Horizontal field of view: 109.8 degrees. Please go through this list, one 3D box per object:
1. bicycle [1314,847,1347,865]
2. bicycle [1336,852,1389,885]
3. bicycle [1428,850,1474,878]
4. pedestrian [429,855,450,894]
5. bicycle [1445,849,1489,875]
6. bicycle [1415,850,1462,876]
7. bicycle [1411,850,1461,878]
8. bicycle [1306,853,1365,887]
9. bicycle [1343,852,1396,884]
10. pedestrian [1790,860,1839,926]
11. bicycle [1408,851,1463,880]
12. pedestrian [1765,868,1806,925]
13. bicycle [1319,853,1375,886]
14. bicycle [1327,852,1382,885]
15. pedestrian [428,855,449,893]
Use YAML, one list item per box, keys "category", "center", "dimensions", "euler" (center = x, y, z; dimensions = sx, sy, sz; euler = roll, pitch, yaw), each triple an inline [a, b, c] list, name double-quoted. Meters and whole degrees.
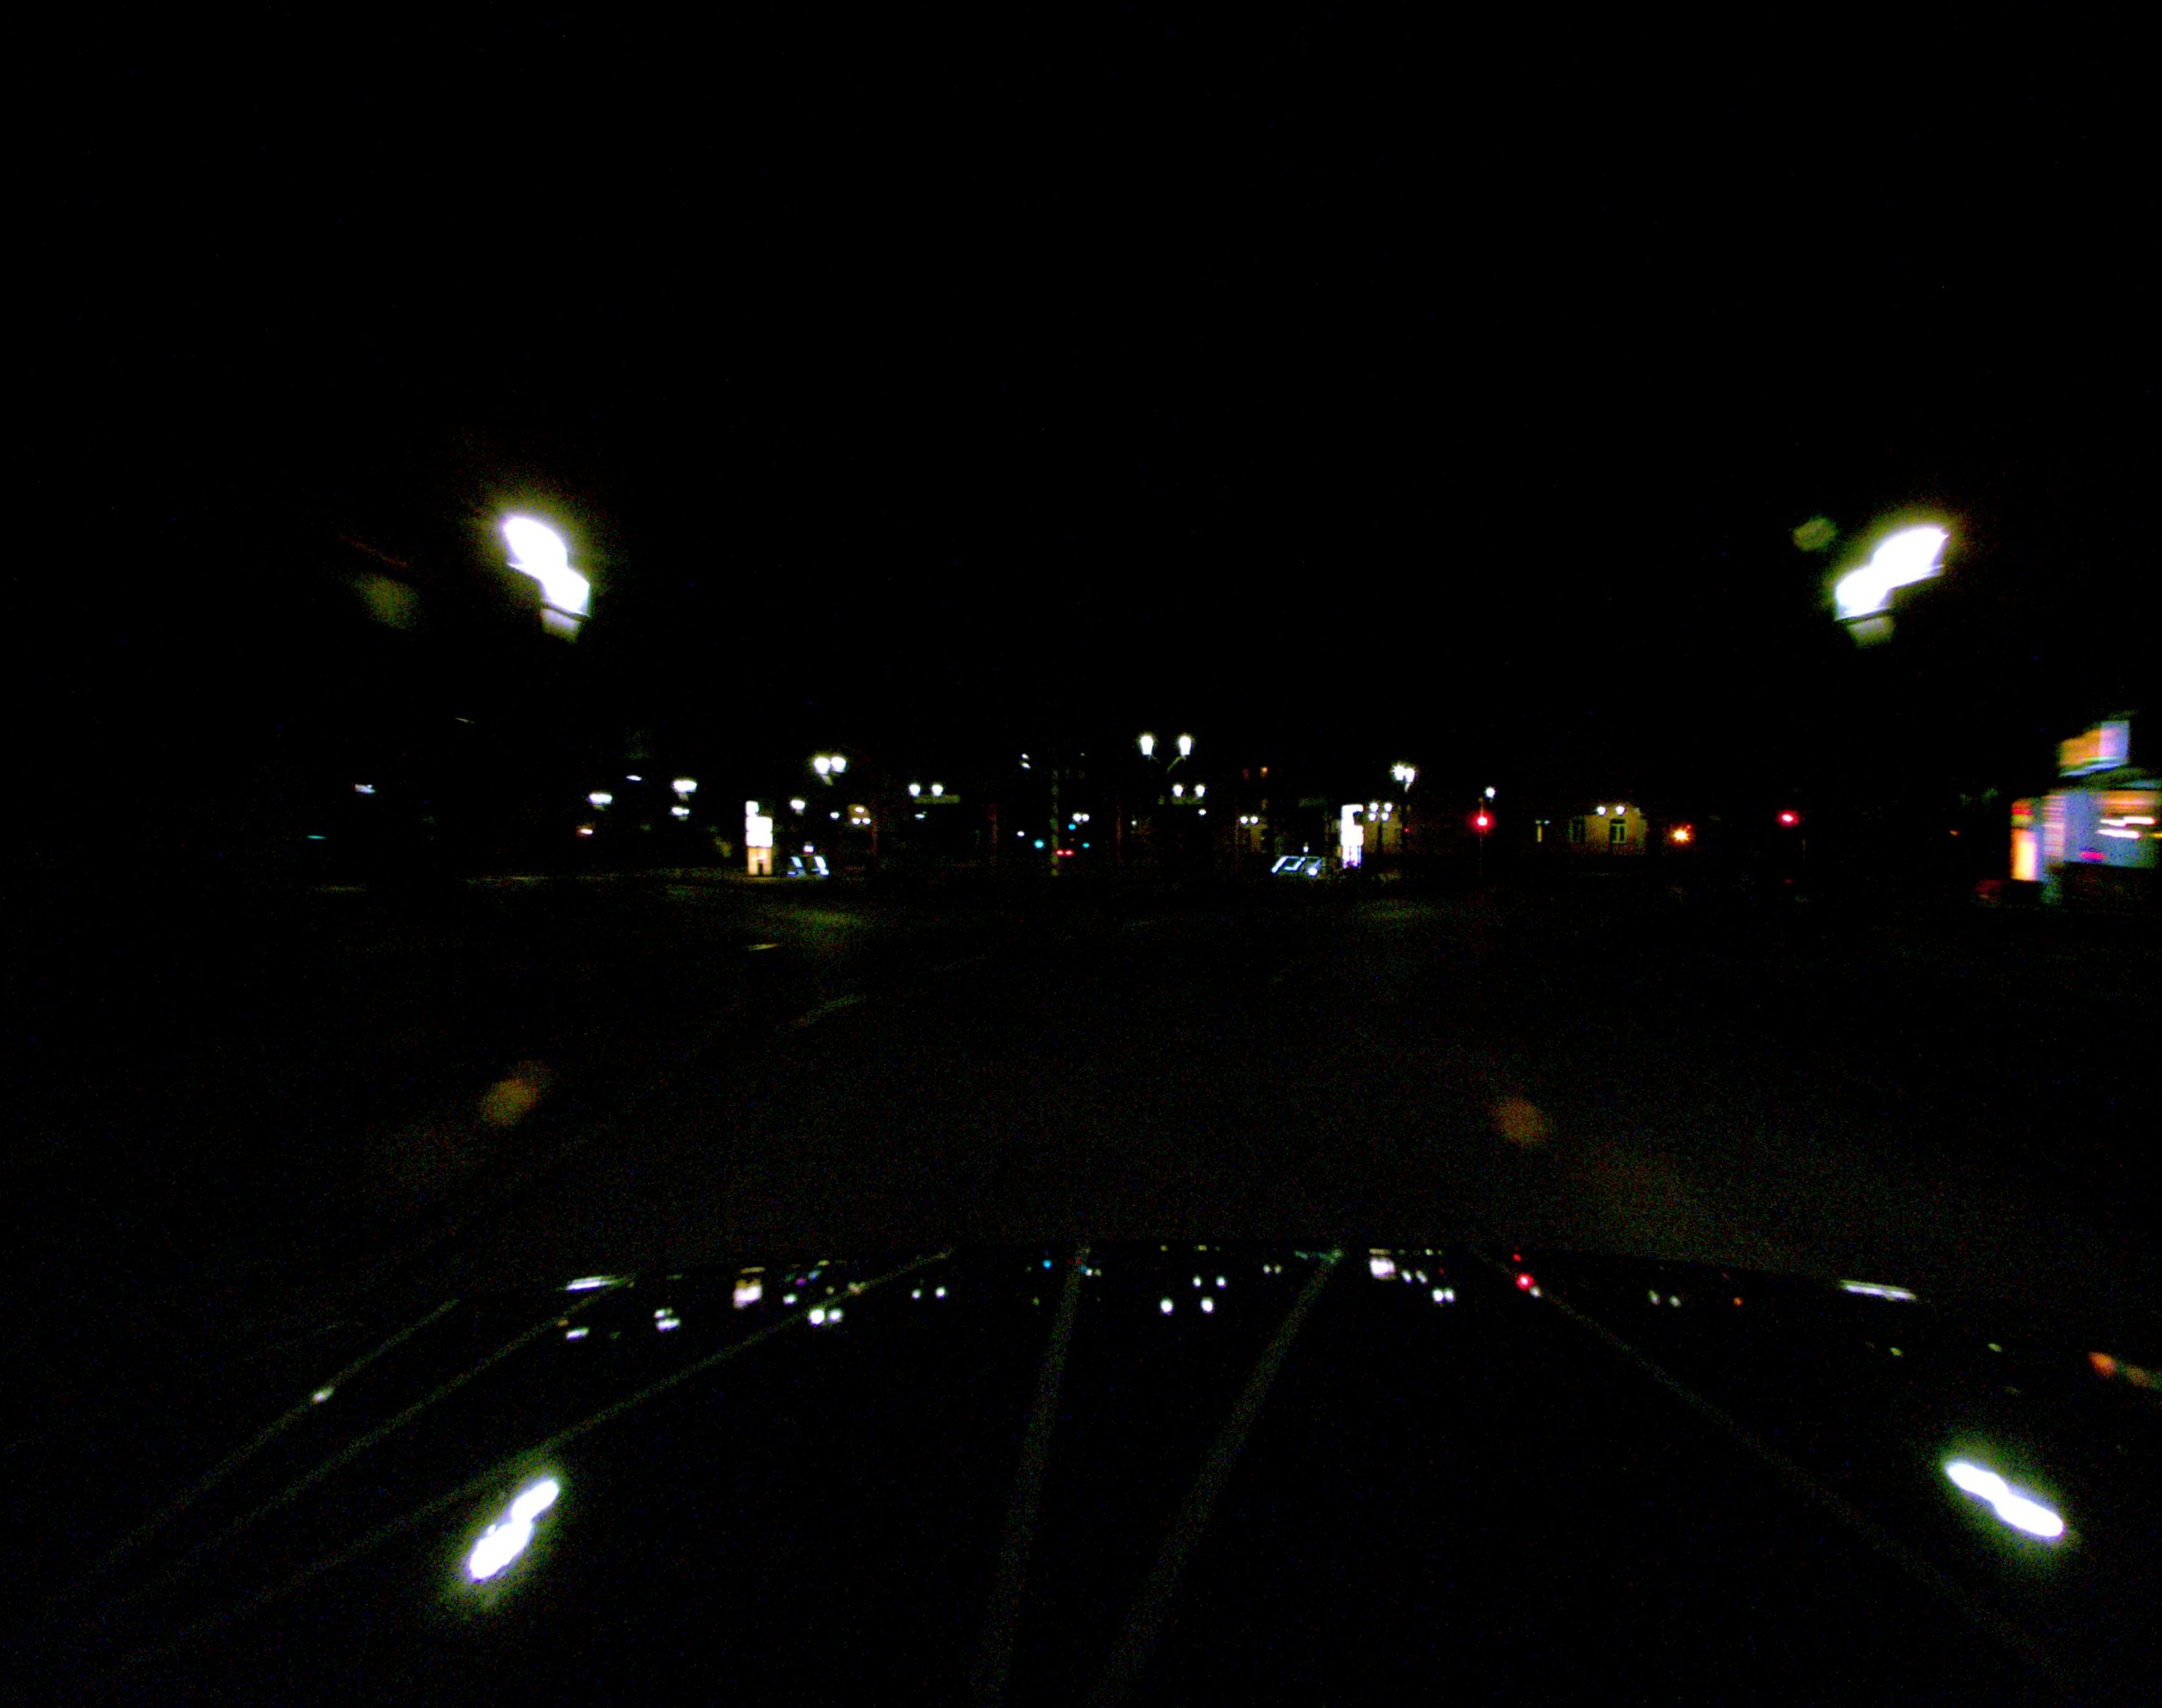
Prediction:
- category: "bicycle"
  center: [15.441, 0.101, 47.036]
  dimensions: [1.803, 1.121, 0.650]
  euler: [0, 1, -8]
- category: "bicycle"
  center: [10.479, 0.523, 28.302]
  dimensions: [0.583, 1.144, 1.772]
  euler: [-1, 2, -43]
- category: "bicycle"
  center: [15.813, 0.411, 32.472]
  dimensions: [1.655, 1.128, 0.644]
  euler: [1, 2, 42]
- category: "pedestrian"
  center: [-21.910, 0.696, 25.955]
  dimensions: [0.516, 1.292, 0.465]
  euler: [-1, 2, -44]
- category: "bicycle"
  center: [17.809, 0.357, 35.051]
  dimensions: [1.655, 1.134, 0.829]
  euler: [1, 2, 42]
- category: "bicycle"
  center: [15.919, 0.378, 33.868]
  dimensions: [1.770, 1.134, 0.688]
  euler: [1, 2, 42]
- category: "bicycle"
  center: [14.907, 0.410, 31.963]
  dimensions: [1.788, 1.128, 0.630]
  euler: [1, 2, 41]
- category: "bicycle"
  center: [8.925, 0.536, 26.671]
  dimensions: [1.783, 1.144, 0.761]
  euler: [1, 2, 41]
- category: "bicycle"
  center: [10.920, 0.515, 28.791]
  dimensions: [0.583, 1.144, 1.772]
  euler: [-1, 2, -43]
- category: "pedestrian"
  center: [15.865, 0.823, 16.445]
  dimensions: [0.676, 1.370, 0.578]
  euler: [1, 2, 39]
- category: "bicycle"
  center: [14.340, 0.445, 30.741]
  dimensions: [1.865, 1.128, 0.727]
  euler: [1, 2, 41]
- category: "pedestrian"
  center: [14.991, 0.891, 16.185]
  dimensions: [0.575, 1.157, 0.679]
  euler: [1, 2, 39]
- category: "bicycle"
  center: [9.518, 0.538, 27.251]
  dimensions: [1.772, 1.144, 0.615]
  euler: [1, 2, 41]
- category: "bicycle"
  center: [9.993, 0.516, 27.796]
  dimensions: [1.772, 1.144, 0.583]
  euler: [1, 2, 41]
- category: "pedestrian"
  center: [-22.240, 0.692, 26.301]
  dimensions: [0.516, 1.292, 0.465]
  euler: [-1, 2, -44]
